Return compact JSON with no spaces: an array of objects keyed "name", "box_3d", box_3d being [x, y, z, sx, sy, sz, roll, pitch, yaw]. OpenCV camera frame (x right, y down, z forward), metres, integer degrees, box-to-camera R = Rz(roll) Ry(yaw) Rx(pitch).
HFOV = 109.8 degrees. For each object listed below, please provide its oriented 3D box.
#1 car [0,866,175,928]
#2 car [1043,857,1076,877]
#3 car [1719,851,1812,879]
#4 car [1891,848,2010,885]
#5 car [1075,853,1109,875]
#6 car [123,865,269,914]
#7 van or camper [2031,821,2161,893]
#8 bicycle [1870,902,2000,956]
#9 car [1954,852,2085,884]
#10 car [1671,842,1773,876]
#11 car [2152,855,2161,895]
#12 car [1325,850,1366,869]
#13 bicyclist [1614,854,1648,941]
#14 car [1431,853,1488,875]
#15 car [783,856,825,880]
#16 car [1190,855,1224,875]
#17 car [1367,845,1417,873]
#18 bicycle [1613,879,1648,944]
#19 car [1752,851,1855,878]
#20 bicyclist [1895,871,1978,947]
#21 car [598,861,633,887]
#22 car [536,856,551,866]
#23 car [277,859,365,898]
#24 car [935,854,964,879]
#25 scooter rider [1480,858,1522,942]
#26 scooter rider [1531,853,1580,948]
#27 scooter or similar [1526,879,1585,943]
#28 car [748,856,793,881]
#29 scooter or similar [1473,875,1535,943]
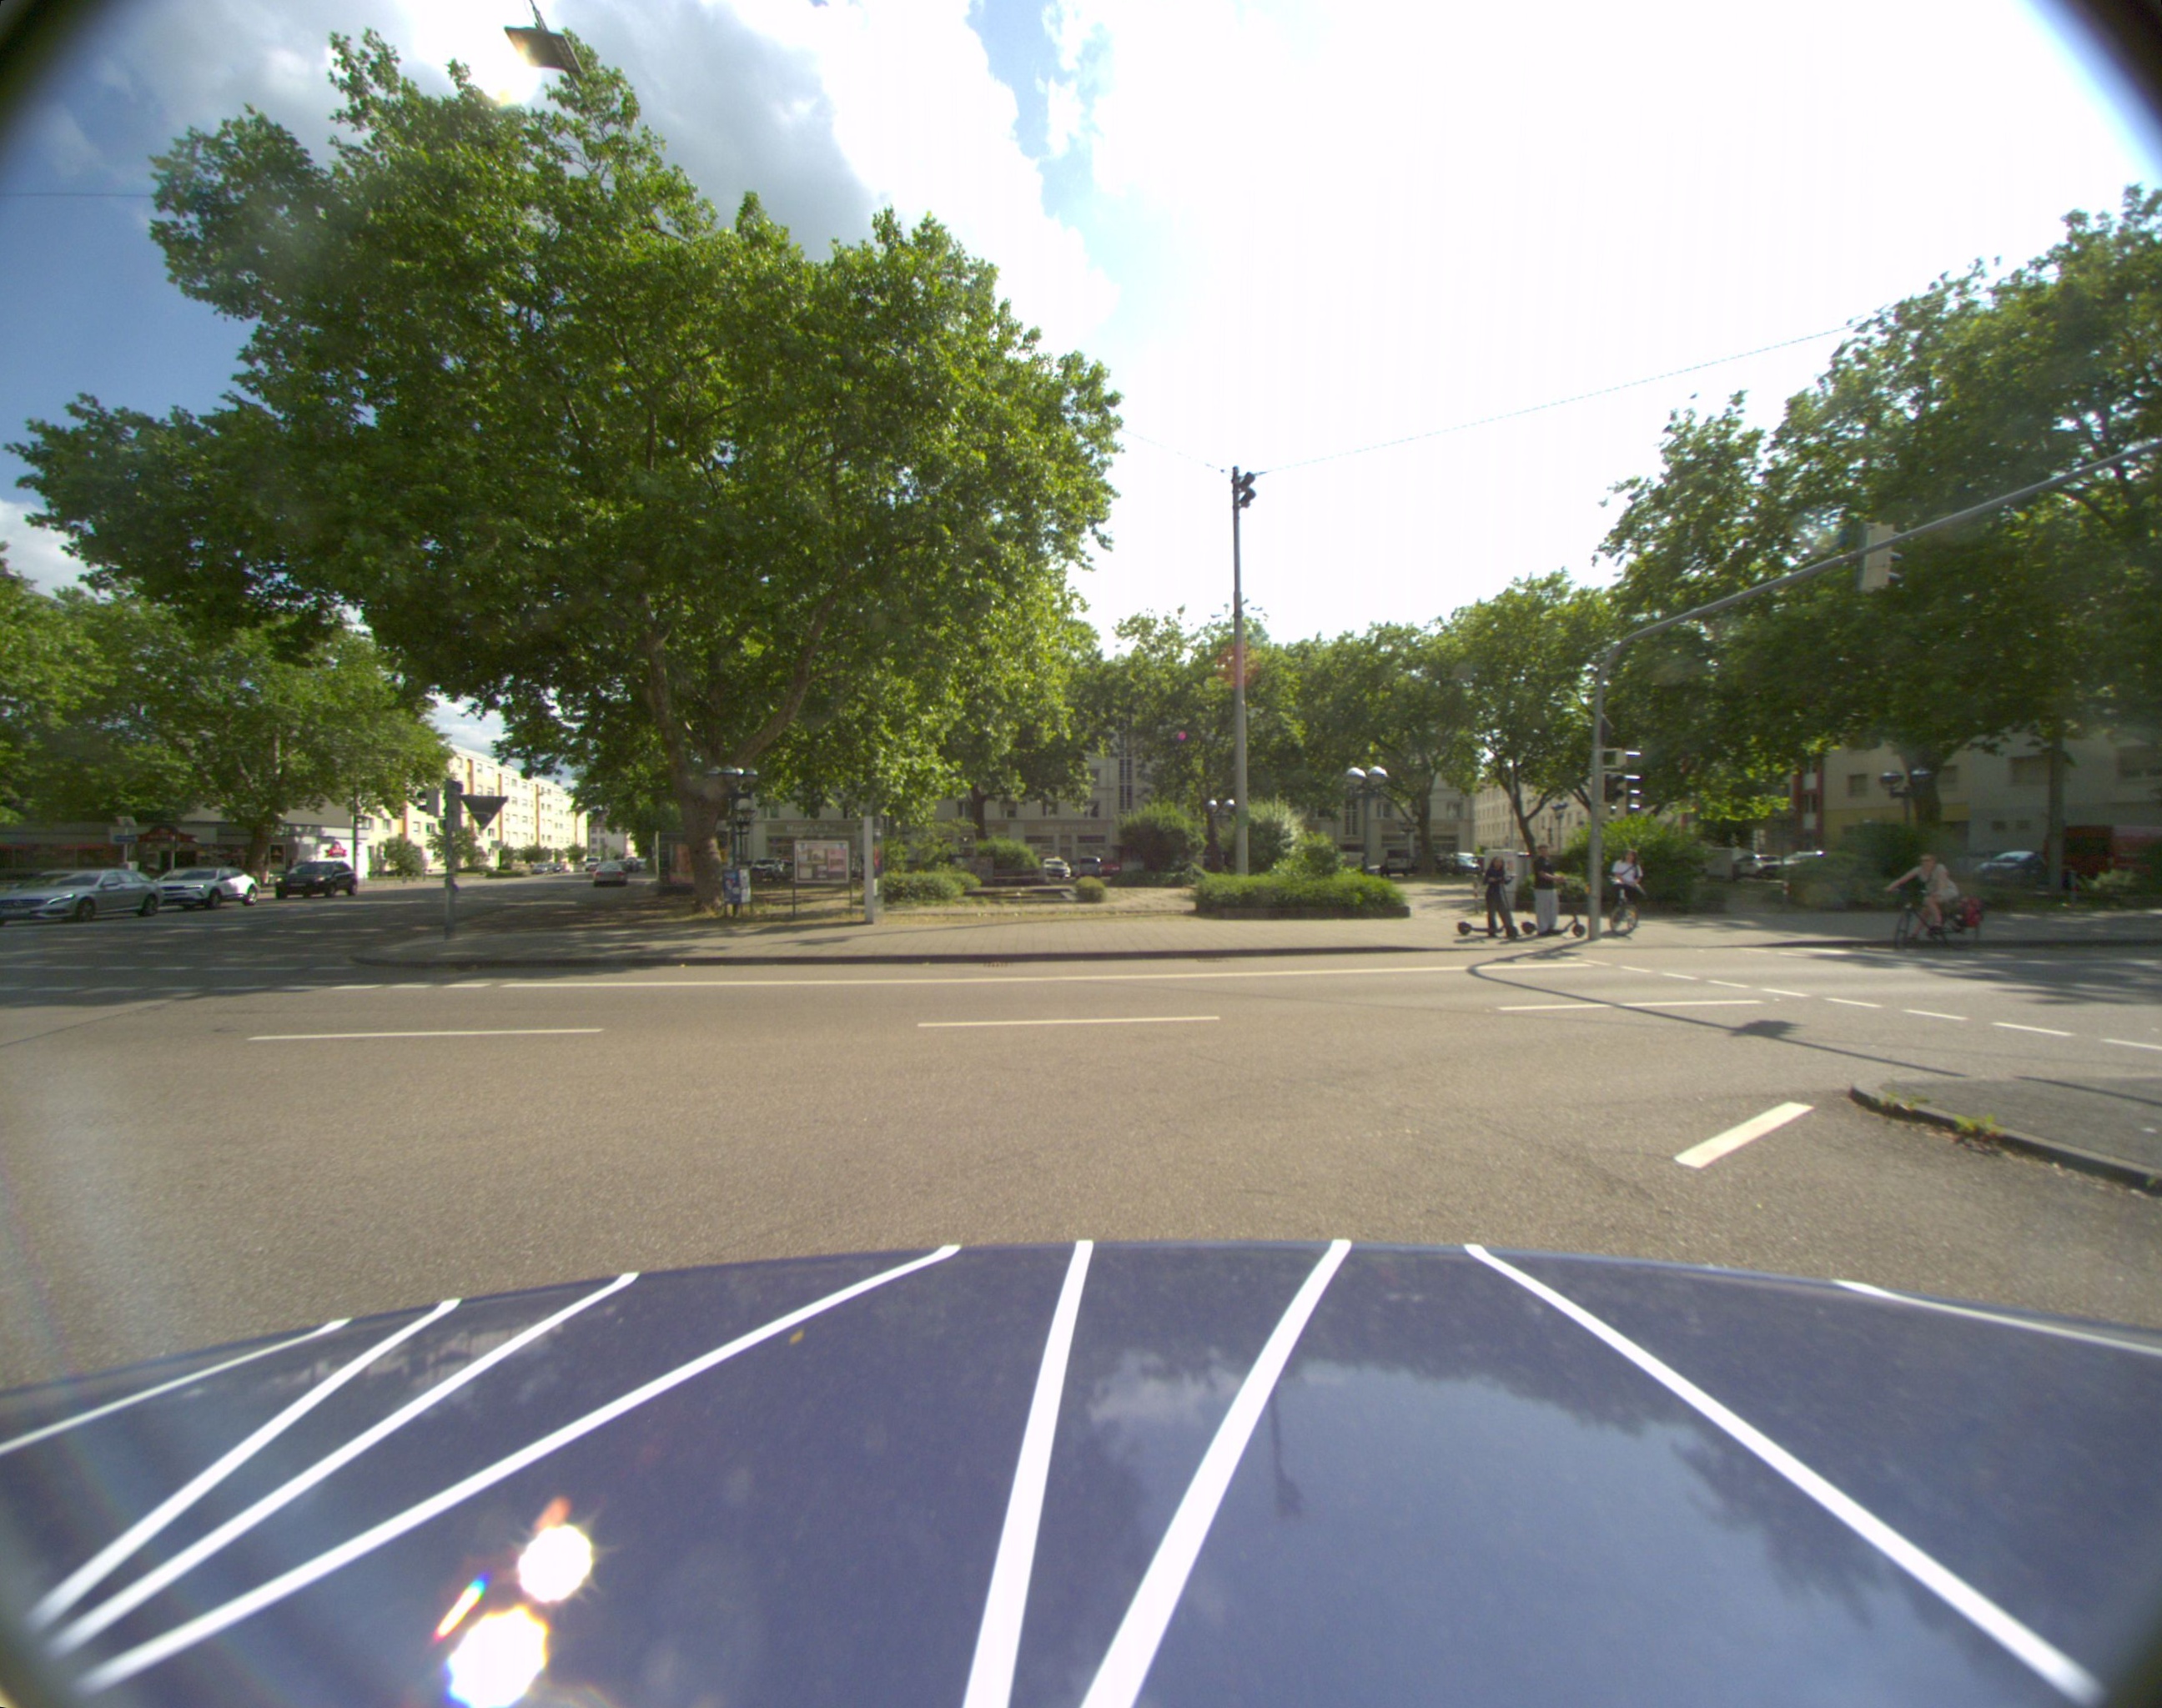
[{"name":"car","box_3d":[-28.060,1.131,21.183,1.863,1.481,3.992,-1,0,-21]},{"name":"car","box_3d":[-1.604,0.929,55.075,1.869,1.346,3.940,-1,1,-9]},{"name":"car","box_3d":[39.023,0.622,43.337,3.999,1.510,1.664,0,-2,-6]},{"name":"car","box_3d":[39.547,0.562,34.587,3.999,1.594,1.530,0,-1,-6]},{"name":"car","box_3d":[0.754,0.705,55.937,1.869,1.509,3.940,-1,1,-9]},{"name":"car","box_3d":[-31.078,1.190,26.870,1.863,1.481,4.067,-1,1,-26]},{"name":"van or camper","box_3d":[40.299,0.126,29.105,5.347,2.625,2.109,-1,-2,-3]},{"name":"bicycle","box_3d":[15.357,1.341,13.684,1.715,0.916,0.471,0,1,4]},{"name":"car","box_3d":[39.317,0.606,31.878,3.999,1.286,1.478,0,-2,-6]},{"name":"car","box_3d":[38.593,0.329,45.812,4.681,1.922,2.000,0,-2,-6]},{"name":"car","box_3d":[40.015,0.719,26.228,3.999,1.402,1.757,0,0,-6]},{"name":"car","box_3d":[23.684,0.481,68.200,1.851,1.650,4.080,0,1,-7]},{"name":"bicyclist","box_3d":[10.939,0.853,15.130,0.506,1.659,0.584,2,4,35]},{"name":"car","box_3d":[28.269,0.700,56.930,1.851,1.524,4.080,0,1,-7]},{"name":"car","box_3d":[-19.671,0.968,54.195,1.851,1.650,4.081,0,1,-6]},{"name":"car","box_3d":[11.101,0.945,67.079,1.851,1.650,4.080,0,1,-7]},{"name":"car","box_3d":[23.202,0.427,56.826,2.253,2.001,3.936,-1,-2,3]},{"name":"bicycle","box_3d":[10.920,1.107,15.121,0.506,1.106,1.634,1,4,35]},{"name":"car","box_3d":[38.588,0.590,40.631,3.999,1.355,1.767,0,-2,-6]},{"name":"bicyclist","box_3d":[15.382,0.978,13.675,0.908,1.336,0.471,0,1,4]},{"name":"car","box_3d":[-29.948,1.266,48.949,1.693,1.493,3.990,-1,1,-28]},{"name":"car","box_3d":[-89.243,1.179,126.179,1.586,1.512,3.990,-1,1,-29]},{"name":"car","box_3d":[-35.167,1.091,35.263,1.693,1.610,3.991,-1,1,-27]},{"name":"car","box_3d":[-9.390,0.846,54.595,1.851,1.650,4.080,0,1,-8]},{"name":"scooter rider","box_3d":[8.209,0.878,14.854,0.545,1.584,0.436,-1,3,-27]},{"name":"scooter rider","box_3d":[9.304,0.888,14.912,0.678,1.800,0.545,1,3,21]},{"name":"scooter or similar","box_3d":[9.301,1.099,14.921,0.874,1.165,0.545,1,3,21]},{"name":"car","box_3d":[-21.940,0.981,53.882,1.851,1.650,4.081,0,1,-6]},{"name":"scooter or similar","box_3d":[8.232,1.057,14.810,0.545,1.219,0.874,-1,3,-27]}]
